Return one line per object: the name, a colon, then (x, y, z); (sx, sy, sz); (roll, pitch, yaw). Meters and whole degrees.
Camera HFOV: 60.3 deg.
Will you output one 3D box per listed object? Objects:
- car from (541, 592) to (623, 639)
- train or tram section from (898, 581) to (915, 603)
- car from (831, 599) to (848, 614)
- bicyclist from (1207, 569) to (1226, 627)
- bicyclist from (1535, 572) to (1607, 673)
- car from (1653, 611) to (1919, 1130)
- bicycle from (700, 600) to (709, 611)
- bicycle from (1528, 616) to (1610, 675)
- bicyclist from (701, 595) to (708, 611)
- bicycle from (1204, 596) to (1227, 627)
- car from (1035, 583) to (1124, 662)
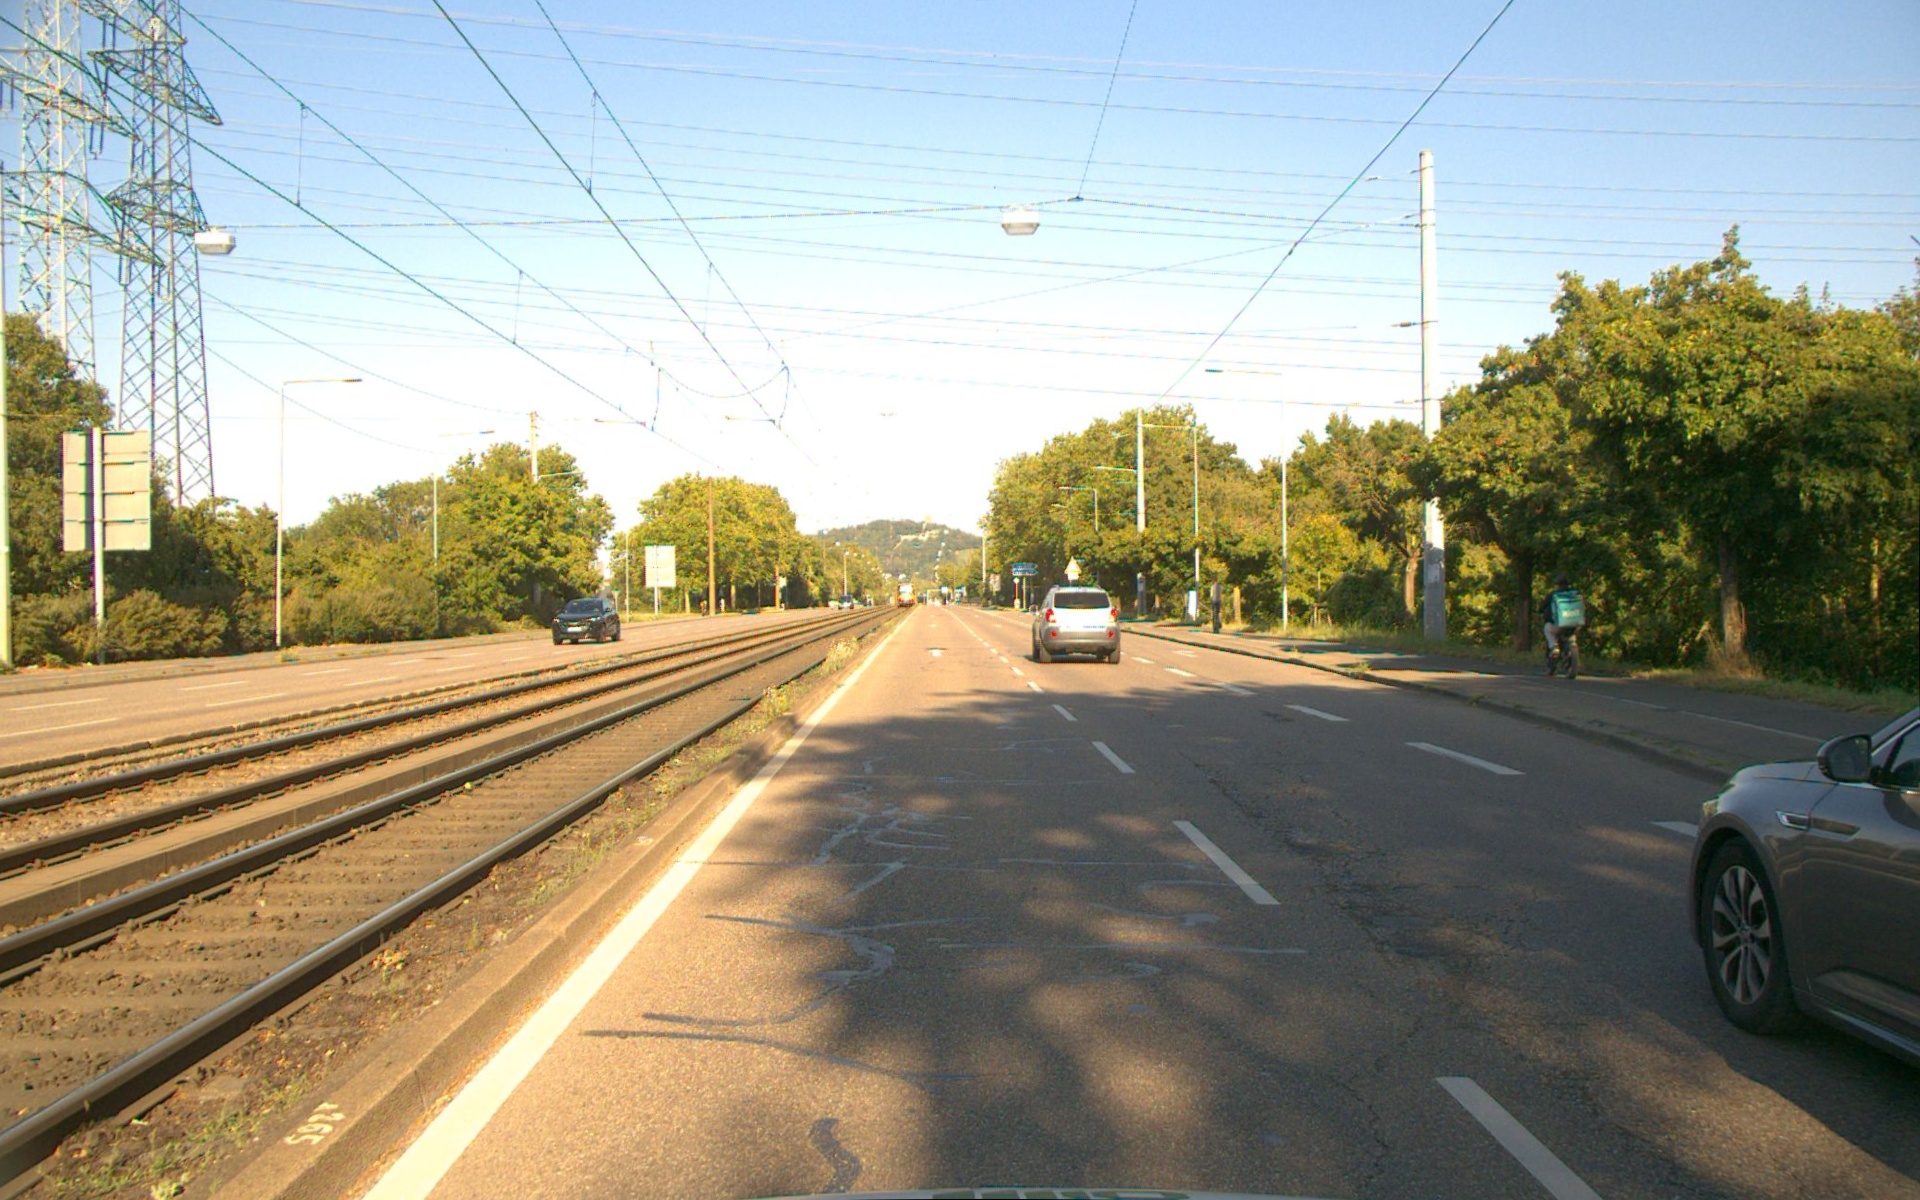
car: (-14.184, 0.582, 62.322); (1.953, 1.653, 4.683); (-2, 0, 0)
train or tram section: (-8.023, -1.175, 249.278); (2.264, 3.273, 9.472); (1, 0, -1)
car: (-16.411, 0.916, 225.297); (1.952, 1.956, 4.860); (-1, 0, 0)
bicyclist: (9.150, -0.078, 58.978); (0.516, 2.052, 0.729); (1, -1, 0)
bicyclist: (9.504, 0.352, 25.767); (0.614, 1.496, 1.060); (-4, 0, -1)
car: (3.633, 0.764, 4.240); (1.838, 1.468, 4.660); (0, 0, 1)
bicycle: (-24.466, 0.564, 158.284); (0.578, 1.040, 2.185); (-1, 0, -2)
bicycle: (9.535, 0.700, 25.965); (0.614, 0.848, 1.634); (-4, 0, -1)
bicyclist: (-24.464, 0.301, 158.337); (0.578, 1.555, 0.906); (-1, 0, -2)
bicycle: (9.141, 0.400, 59.228); (0.516, 1.079, 1.971); (1, 0, 0)
car: (2.710, 0.502, 38.301); (1.849, 1.723, 4.257); (0, 0, 1)
